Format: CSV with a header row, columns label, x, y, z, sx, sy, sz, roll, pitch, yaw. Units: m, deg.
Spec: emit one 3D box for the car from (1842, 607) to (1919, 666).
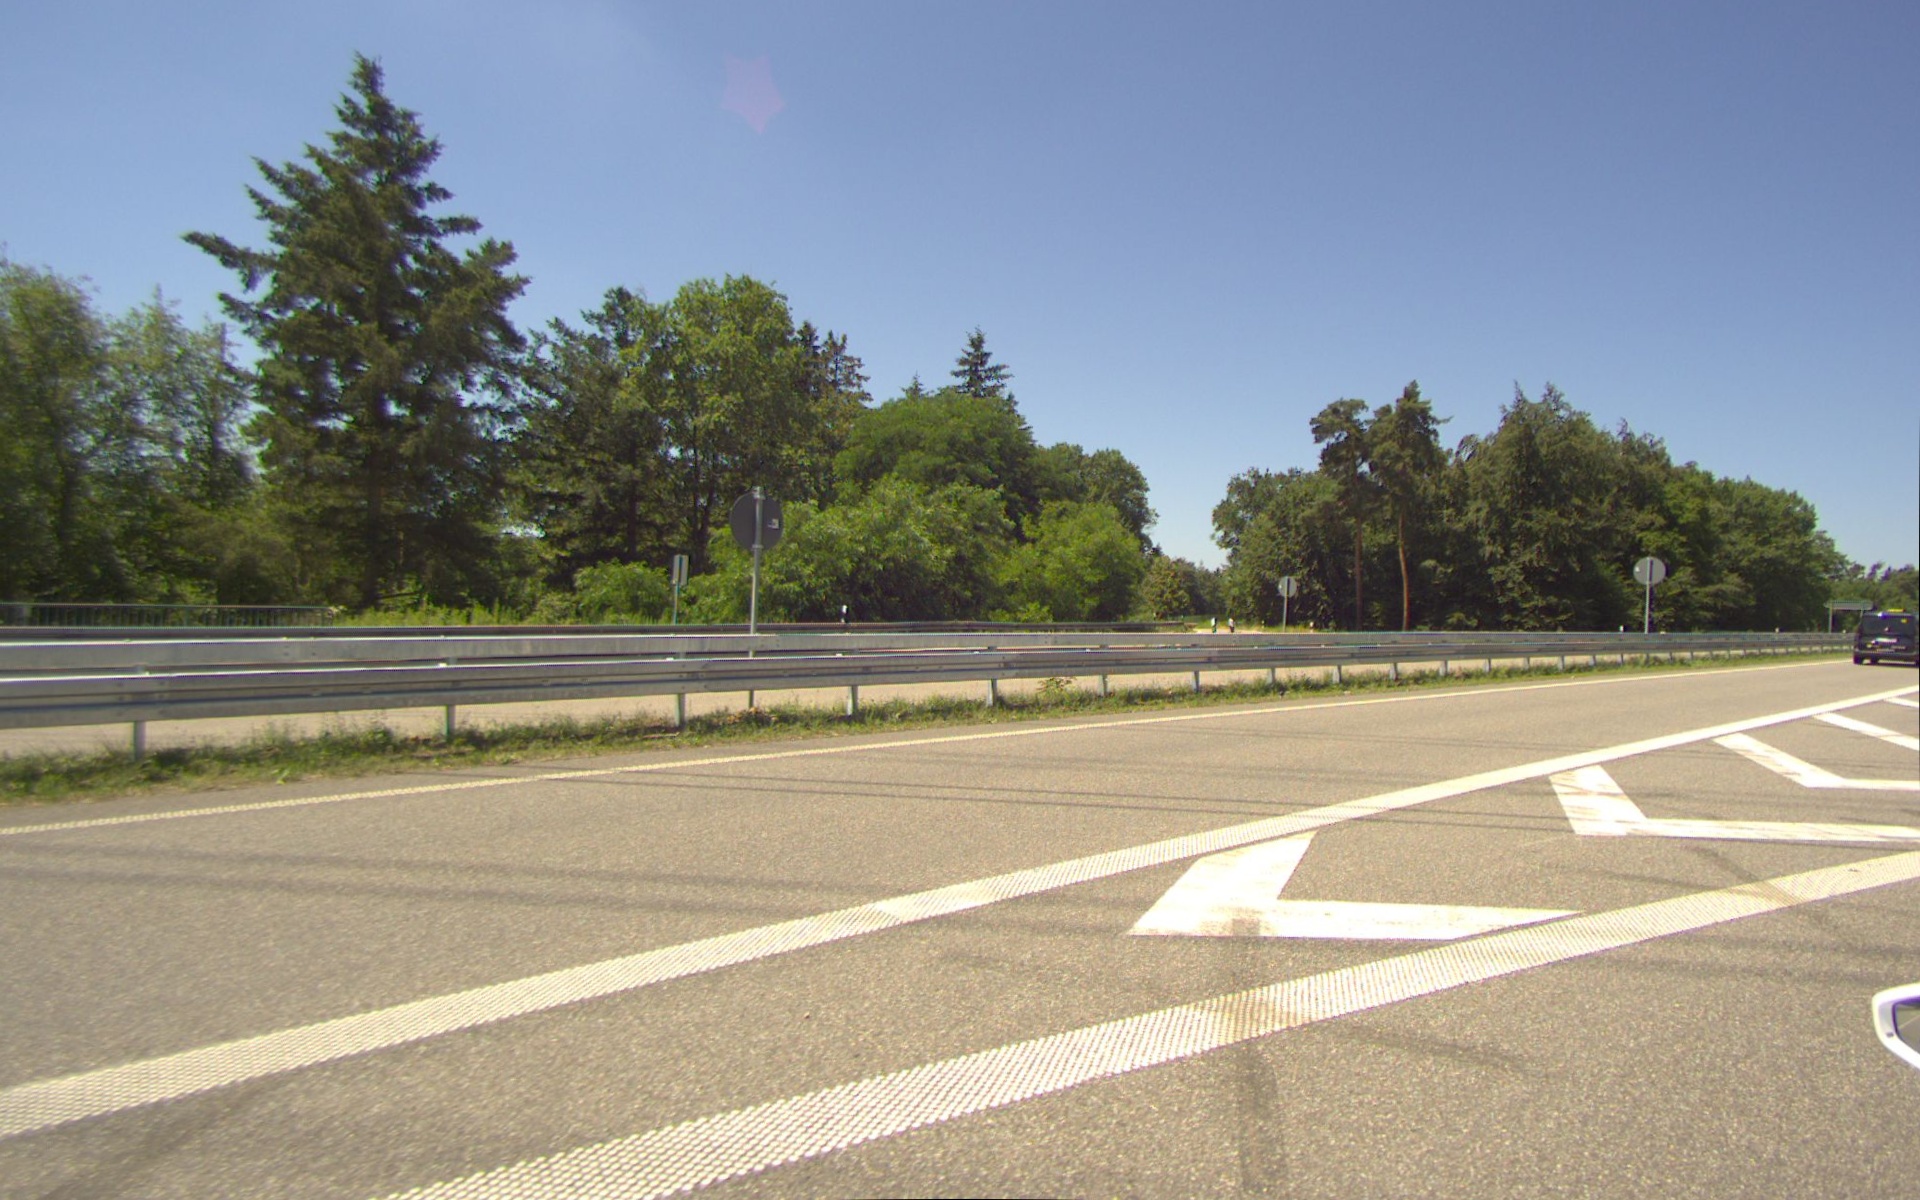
label,x,y,z,sx,sy,sz,roll,pitch,yaw
car,32.873,1.255,35.374,5.526,1.912,1.839,1,-1,-39
